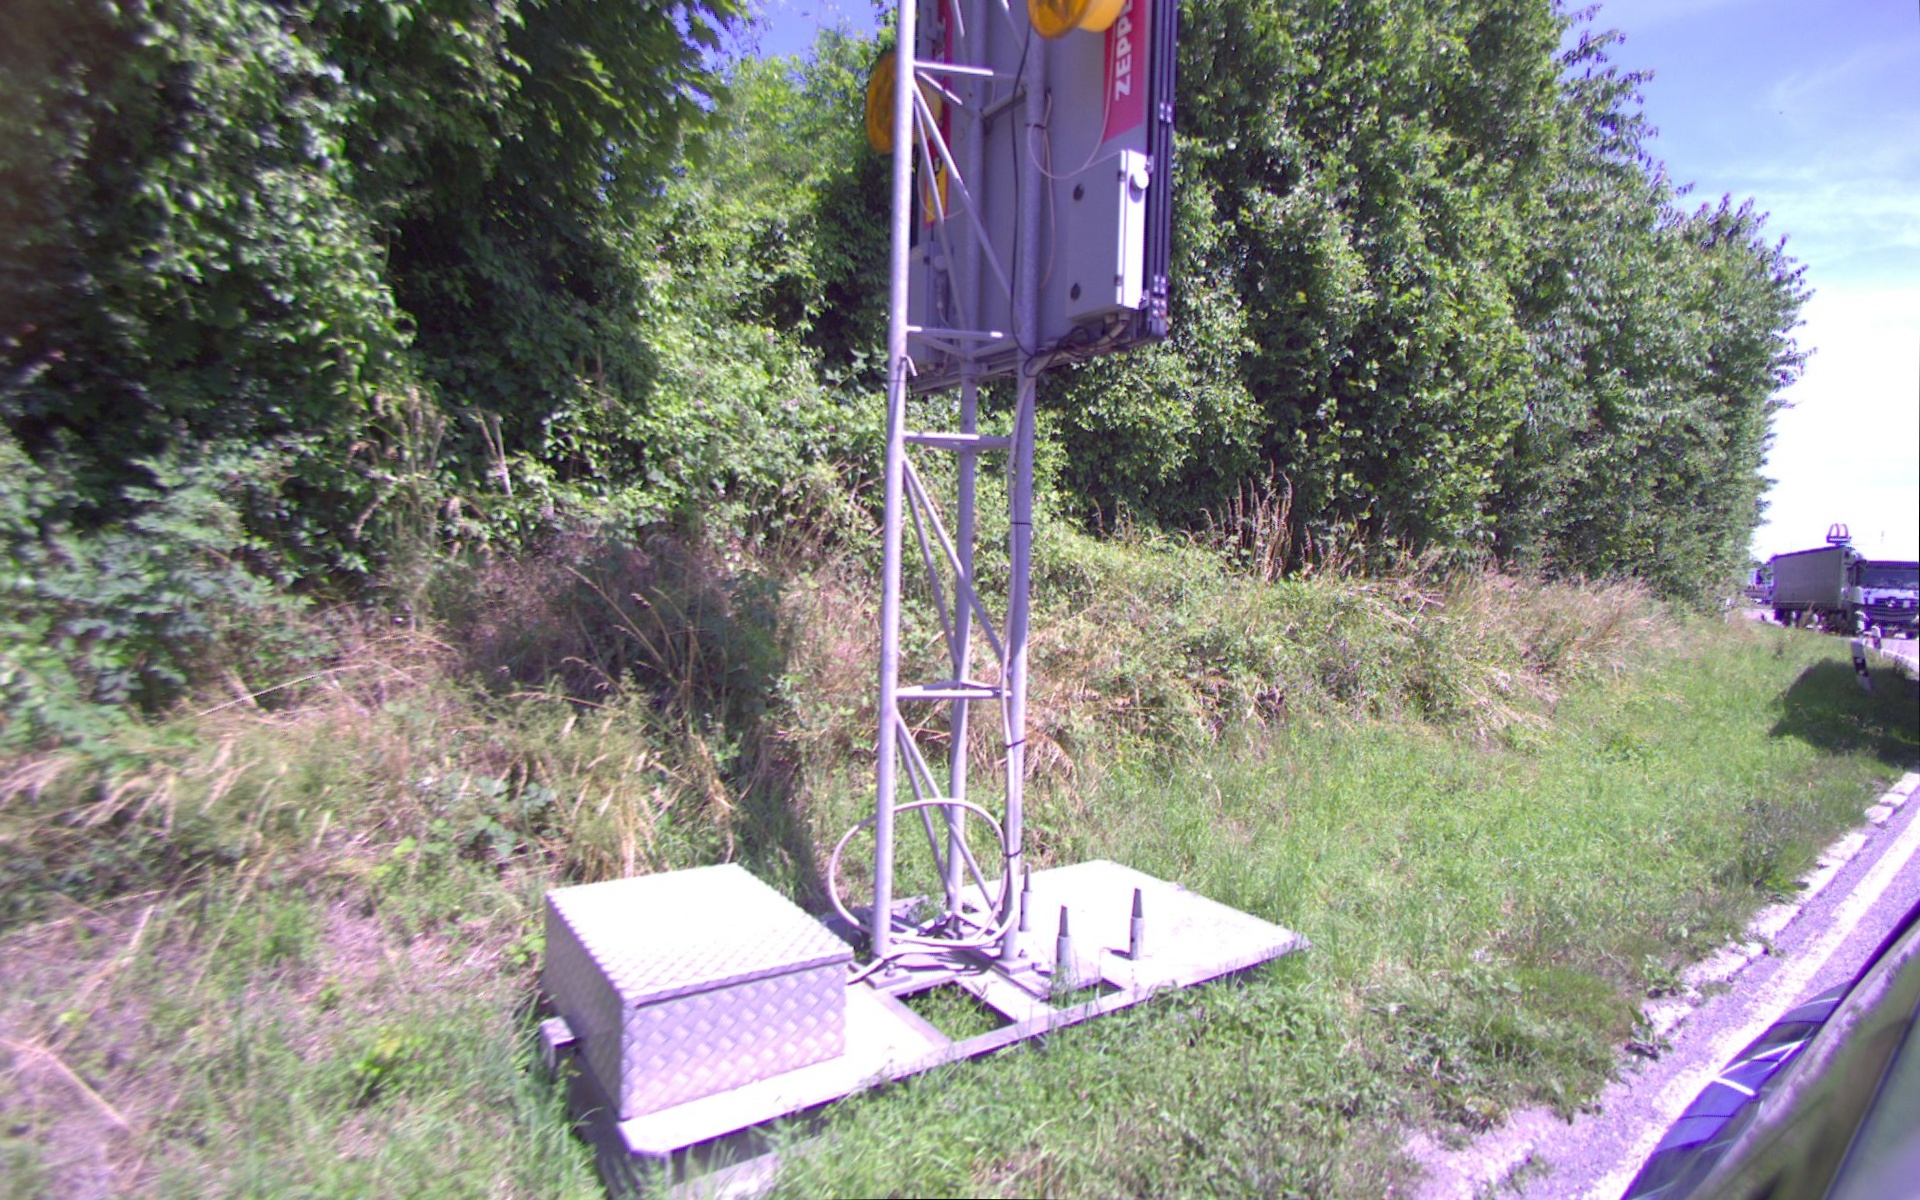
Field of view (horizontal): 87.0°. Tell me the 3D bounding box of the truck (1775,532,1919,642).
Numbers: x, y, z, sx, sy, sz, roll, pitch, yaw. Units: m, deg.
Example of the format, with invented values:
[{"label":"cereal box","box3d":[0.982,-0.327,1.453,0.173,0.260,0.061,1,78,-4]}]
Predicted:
[{"label":"truck","box3d":[43.205,-0.747,48.968,2.956,4.527,16.289,0,1,29]}]
